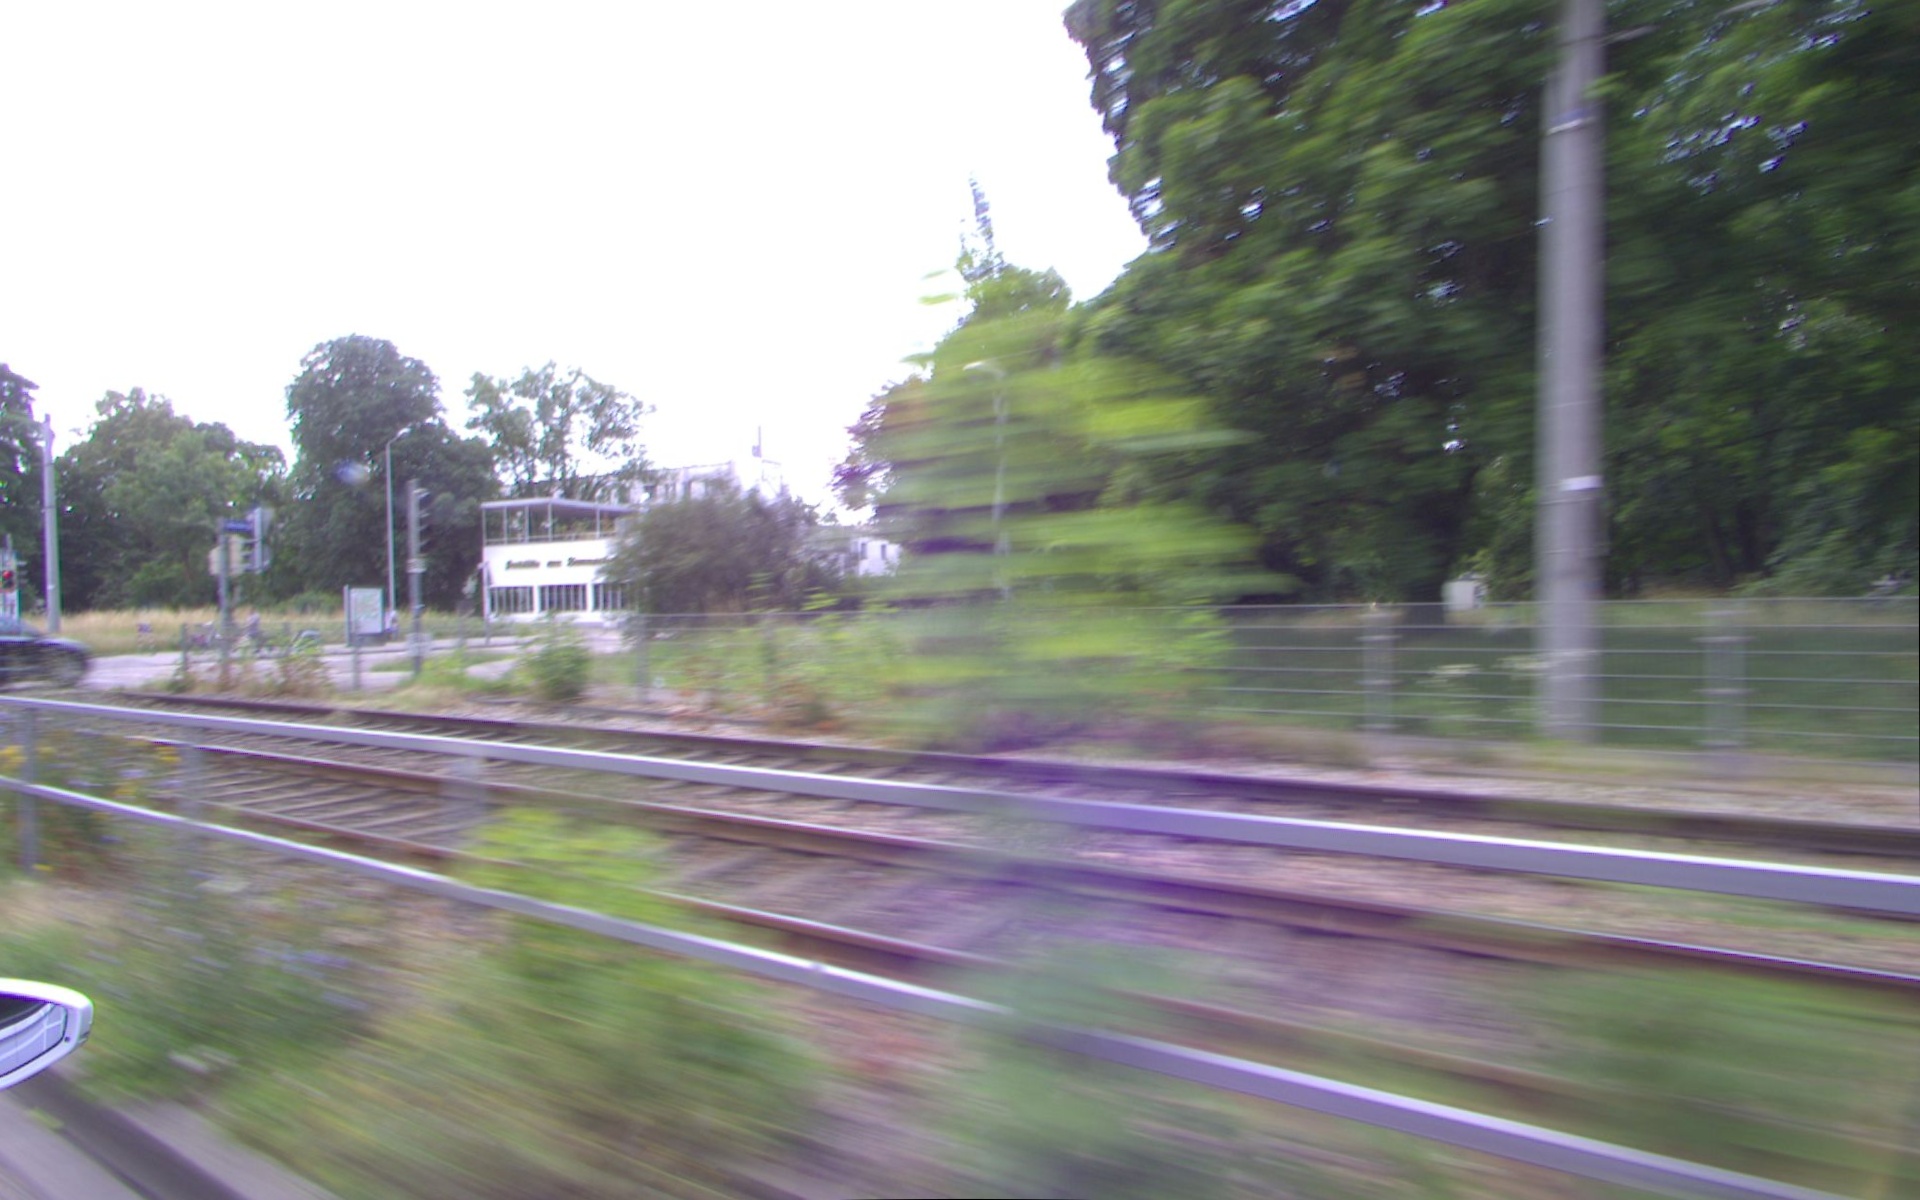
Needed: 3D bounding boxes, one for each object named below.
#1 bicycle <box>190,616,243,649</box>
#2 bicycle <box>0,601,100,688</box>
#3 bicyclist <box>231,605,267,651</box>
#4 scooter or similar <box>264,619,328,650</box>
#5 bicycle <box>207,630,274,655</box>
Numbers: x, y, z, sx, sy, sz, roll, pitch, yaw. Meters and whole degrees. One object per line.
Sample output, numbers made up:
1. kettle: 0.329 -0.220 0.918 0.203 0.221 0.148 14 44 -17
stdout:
1. bicycle: -27.344 1.186 36.855 0.688 1.148 1.660 0 2 -1
2. bicycle: -19.764 0.886 19.853 1.961 1.697 4.208 -1 0 -4
3. bicyclist: -23.640 0.920 33.295 0.449 1.495 0.836 -1 0 35
4. scooter or similar: -22.765 1.182 34.356 0.950 0.992 1.569 -1 0 35
5. bicycle: -23.806 1.400 33.155 0.548 0.775 1.717 -1 -1 35
